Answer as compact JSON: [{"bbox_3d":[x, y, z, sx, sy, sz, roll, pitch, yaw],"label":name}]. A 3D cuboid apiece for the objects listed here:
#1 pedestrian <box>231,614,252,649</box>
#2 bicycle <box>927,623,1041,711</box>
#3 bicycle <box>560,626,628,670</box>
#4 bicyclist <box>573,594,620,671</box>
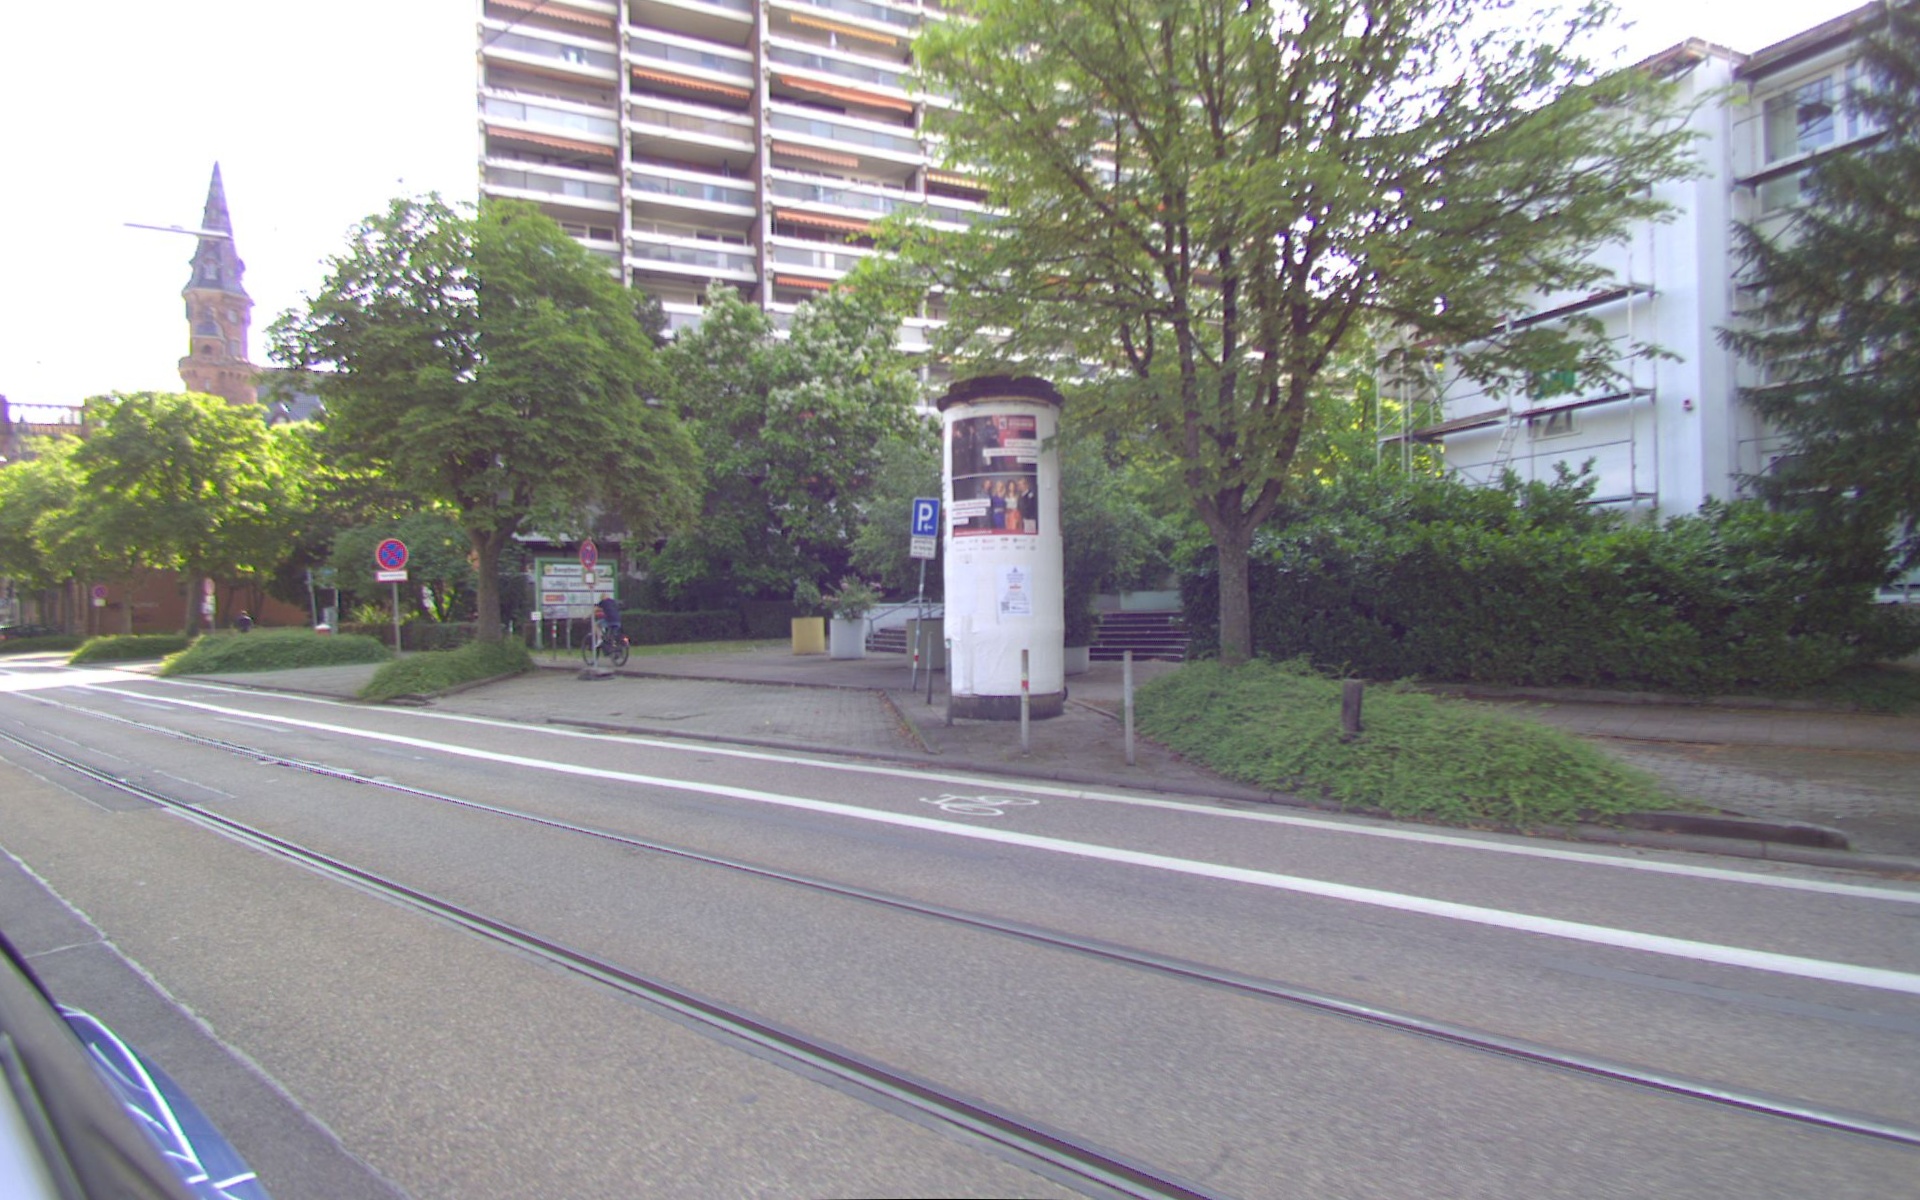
[{"bbox_3d":[-34.483,1.511,48.584,0.754,1.642,0.739,0,-1,-42],"label":"pedestrian"},{"bbox_3d":[0.322,0.916,14.109,1.484,1.163,0.634,-1,-1,-8],"label":"bicycle"},{"bbox_3d":[-8.569,1.109,23.673,1.981,0.988,0.561,-1,-1,40],"label":"bicycle"},{"bbox_3d":[-8.492,0.754,23.648,0.781,1.753,0.716,-1,-1,39],"label":"bicyclist"}]
